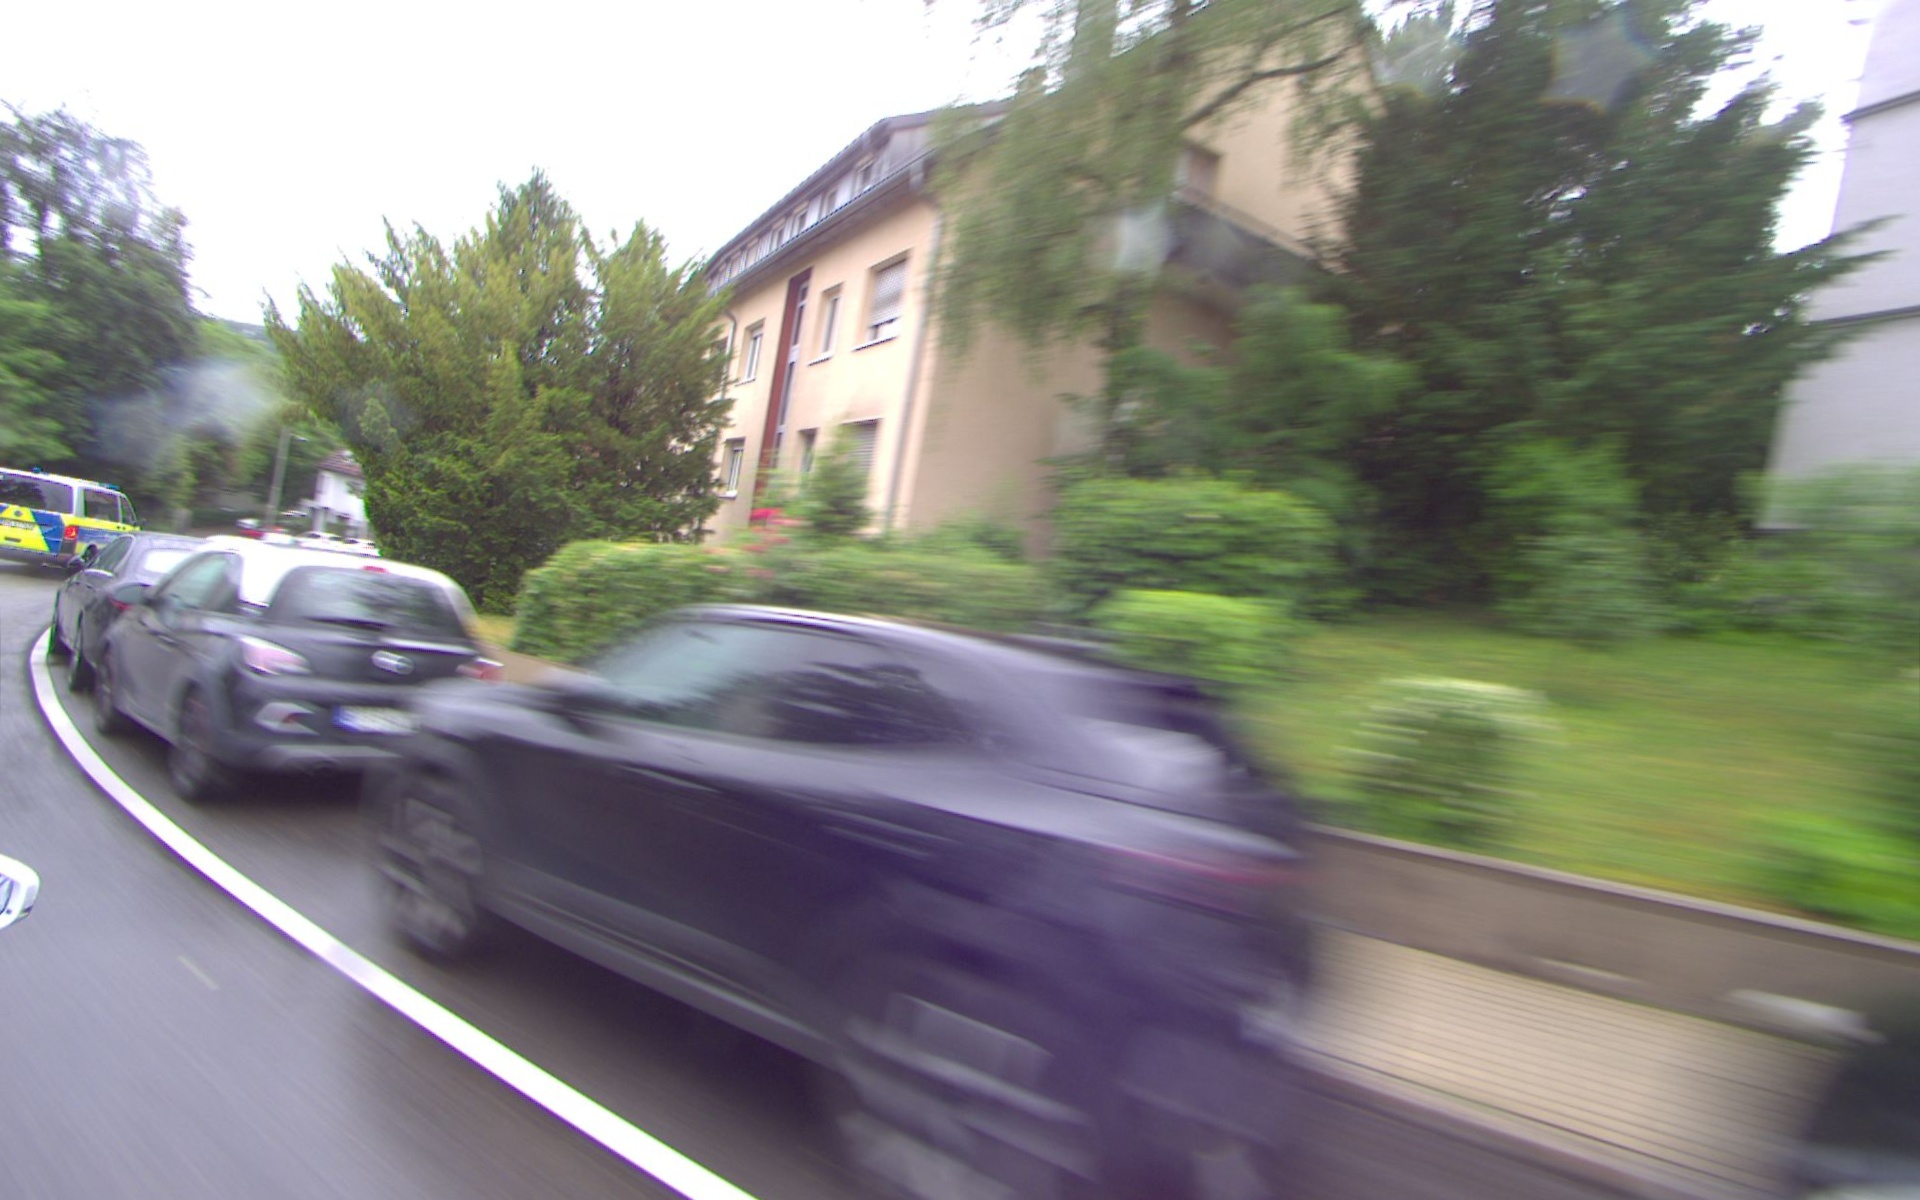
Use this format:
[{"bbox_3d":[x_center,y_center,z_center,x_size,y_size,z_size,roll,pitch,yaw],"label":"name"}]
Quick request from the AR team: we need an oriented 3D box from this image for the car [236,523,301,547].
[{"bbox_3d":[-55.099,-5.183,80.232,4.115,1.385,1.785,7,2,9],"label":"car"}]

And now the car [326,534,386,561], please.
[{"bbox_3d":[-46.132,-3.993,76.792,4.338,1.559,1.916,7,2,28],"label":"car"}]

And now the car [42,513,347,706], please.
[{"bbox_3d":[-7.990,0.011,10.315,4.472,1.453,1.802,7,0,45],"label":"car"}]

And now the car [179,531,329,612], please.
[{"bbox_3d":[-15.708,-0.655,22.642,1.761,1.453,4.543,7,0,-23],"label":"car"}]

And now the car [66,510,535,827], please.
[{"bbox_3d":[-4.742,0.300,7.031,3.684,1.491,1.679,8,2,40],"label":"car"}]

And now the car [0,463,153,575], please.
[{"bbox_3d":[-18.791,-1.612,20.980,1.977,1.915,4.541,8,-2,-27],"label":"car"}]

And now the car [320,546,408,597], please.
[{"bbox_3d":[-21.313,-1.021,36.170,1.671,1.472,4.237,9,-1,-18],"label":"car"}]

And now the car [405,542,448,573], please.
[{"bbox_3d":[-37.591,-3.007,70.885,1.697,1.815,4.276,5,2,-40],"label":"car"}]

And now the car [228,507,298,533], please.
[{"bbox_3d":[-58.924,-6.817,85.124,1.969,1.873,4.376,11,12,38],"label":"car"}]

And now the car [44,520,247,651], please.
[{"bbox_3d":[-11.082,-0.283,13.888,1.798,1.364,4.572,7,0,-37],"label":"car"}]

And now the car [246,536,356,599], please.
[{"bbox_3d":[-19.566,-0.977,30.046,1.790,1.472,4.231,9,-1,-22],"label":"car"}]

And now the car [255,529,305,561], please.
[{"bbox_3d":[-38.660,-3.094,57.275,1.637,1.435,3.778,12,-2,-25],"label":"car"}]

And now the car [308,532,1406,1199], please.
[{"bbox_3d":[-0.649,0.679,3.920,4.004,1.454,1.715,7,2,34],"label":"car"}]

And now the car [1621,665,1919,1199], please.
[{"bbox_3d":[3.177,1.109,1.352,3.543,1.525,1.621,7,2,29],"label":"car"}]

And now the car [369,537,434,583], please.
[{"bbox_3d":[-23.683,-1.704,42.819,1.717,1.612,4.231,9,-1,-22],"label":"car"}]

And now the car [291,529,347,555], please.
[{"bbox_3d":[-50.241,-4.554,78.810,3.753,1.535,1.769,7,2,21],"label":"car"}]
